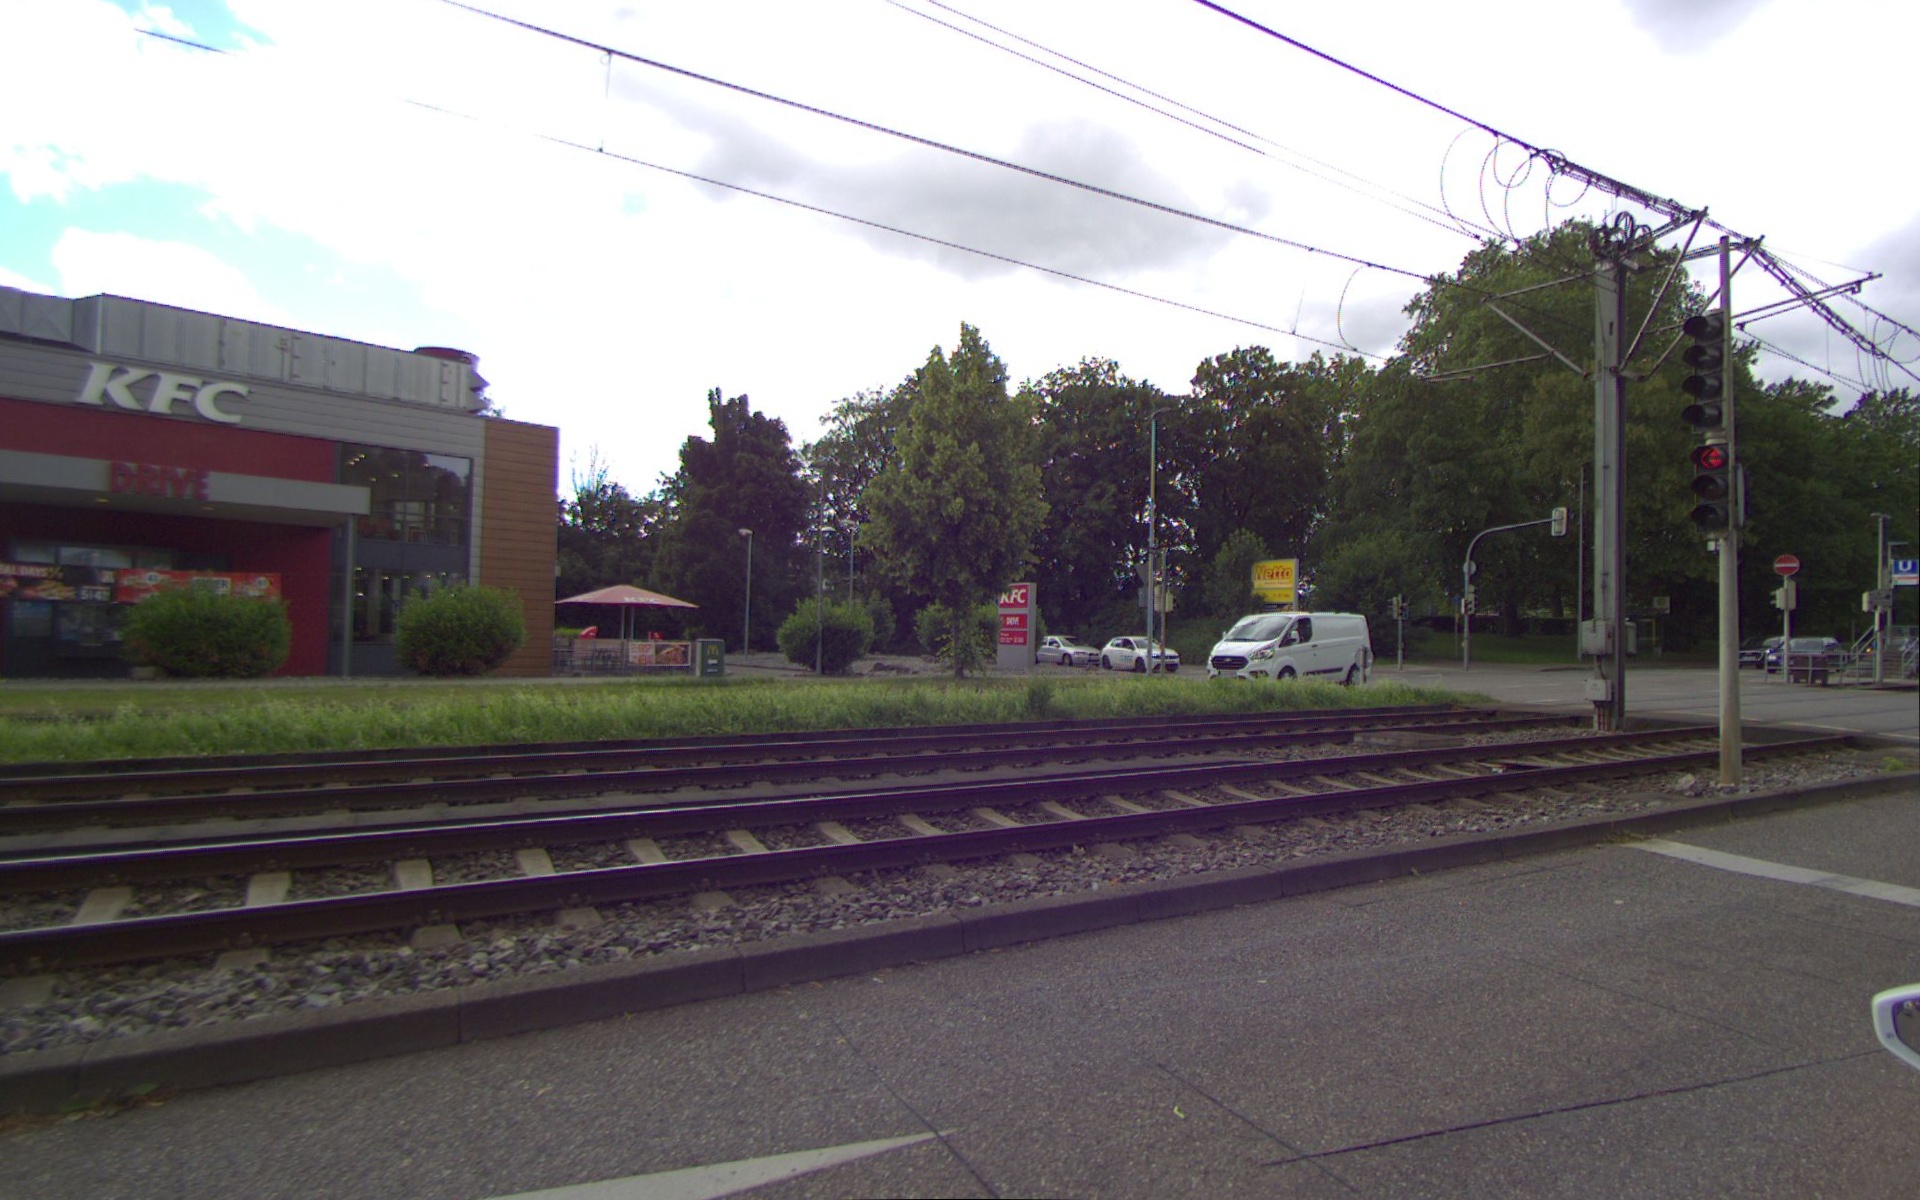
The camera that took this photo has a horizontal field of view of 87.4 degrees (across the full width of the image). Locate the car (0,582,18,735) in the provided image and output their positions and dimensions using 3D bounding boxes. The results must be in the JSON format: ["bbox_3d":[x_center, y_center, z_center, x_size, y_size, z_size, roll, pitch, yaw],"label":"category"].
[{"bbox_3d":[-14.342,0.710,12.077,4.066,2.040,1.981,2,-2,-35],"label":"car"}]

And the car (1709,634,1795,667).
[{"bbox_3d":[37.999,2.449,48.172,4.462,1.501,1.981,3,-4,-35],"label":"car"}]

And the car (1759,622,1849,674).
[{"bbox_3d":[33.525,1.909,39.879,3.959,1.885,1.686,2,0,-35],"label":"car"}]

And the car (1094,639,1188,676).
[{"bbox_3d":[7.460,2.377,41.751,1.825,1.426,3.861,2,-2,-29],"label":"car"}]

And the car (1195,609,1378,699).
[{"bbox_3d":[8.227,1.342,25.119,4.840,2.040,1.979,2,-3,-37],"label":"car"}]

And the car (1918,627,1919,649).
[{"bbox_3d":[65.118,2.515,66.494,3.960,1.464,1.676,2,-4,-35],"label":"car"}]

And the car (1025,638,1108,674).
[{"bbox_3d":[4.934,2.588,46.949,1.827,1.572,3.965,2,-2,-32],"label":"car"}]
